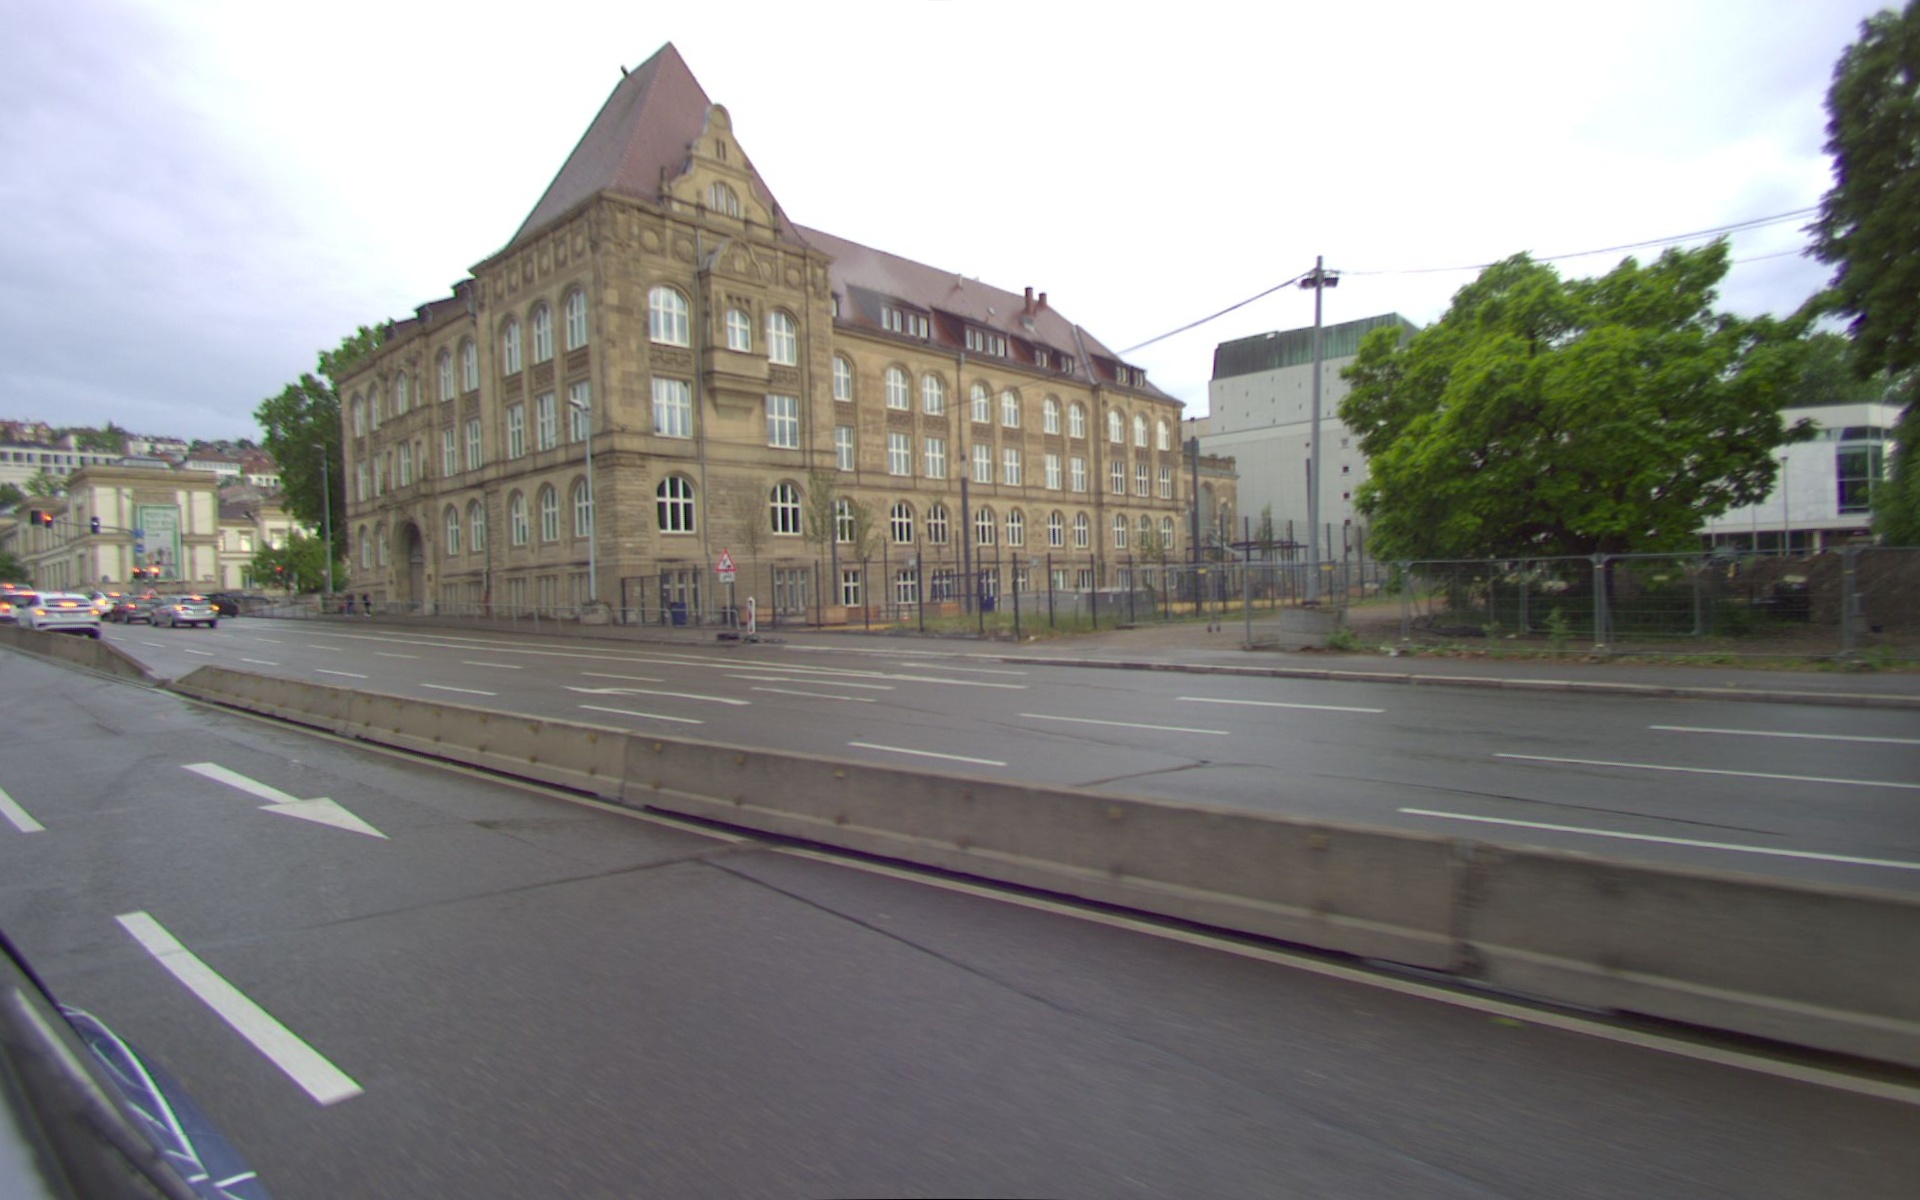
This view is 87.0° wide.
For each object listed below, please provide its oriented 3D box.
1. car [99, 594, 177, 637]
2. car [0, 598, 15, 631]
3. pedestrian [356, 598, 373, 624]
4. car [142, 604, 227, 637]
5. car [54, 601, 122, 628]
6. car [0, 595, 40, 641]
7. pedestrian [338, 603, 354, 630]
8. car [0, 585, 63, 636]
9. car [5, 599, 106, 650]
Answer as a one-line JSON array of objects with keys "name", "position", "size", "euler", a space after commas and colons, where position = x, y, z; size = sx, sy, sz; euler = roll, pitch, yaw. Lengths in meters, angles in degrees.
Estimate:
[{"name": "car", "position": [-42.263, 0.761, 52.016], "size": [3.988, 2.029, 1.978], "euler": [1, 0, 33]}, {"name": "car", "position": [-47.640, 0.670, 49.059], "size": [4.815, 1.513, 1.974], "euler": [1, 0, 38]}, {"name": "pedestrian", "position": [-36.260, 0.664, 61.624], "size": [0.733, 1.596, 0.611], "euler": [1, 0, 34]}, {"name": "car", "position": [-36.165, 0.925, 47.148], "size": [4.202, 1.393, 1.976], "euler": [1, 0, 35]}, {"name": "car", "position": [-48.092, 0.773, 55.805], "size": [4.204, 1.393, 1.975], "euler": [1, 0, 37]}, {"name": "car", "position": [-42.165, 0.736, 44.279], "size": [5.589, 1.880, 1.974], "euler": [1, 0, 39]}, {"name": "pedestrian", "position": [-37.049, 1.006, 61.061], "size": [0.734, 1.596, 0.610], "euler": [1, 0, 41]}, {"name": "car", "position": [-37.129, 0.362, 39.915], "size": [4.374, 1.880, 1.890], "euler": [1, 0, 39]}, {"name": "car", "position": [-31.814, 0.814, 35.541], "size": [4.893, 1.579, 1.875], "euler": [1, 0, 39]}]
